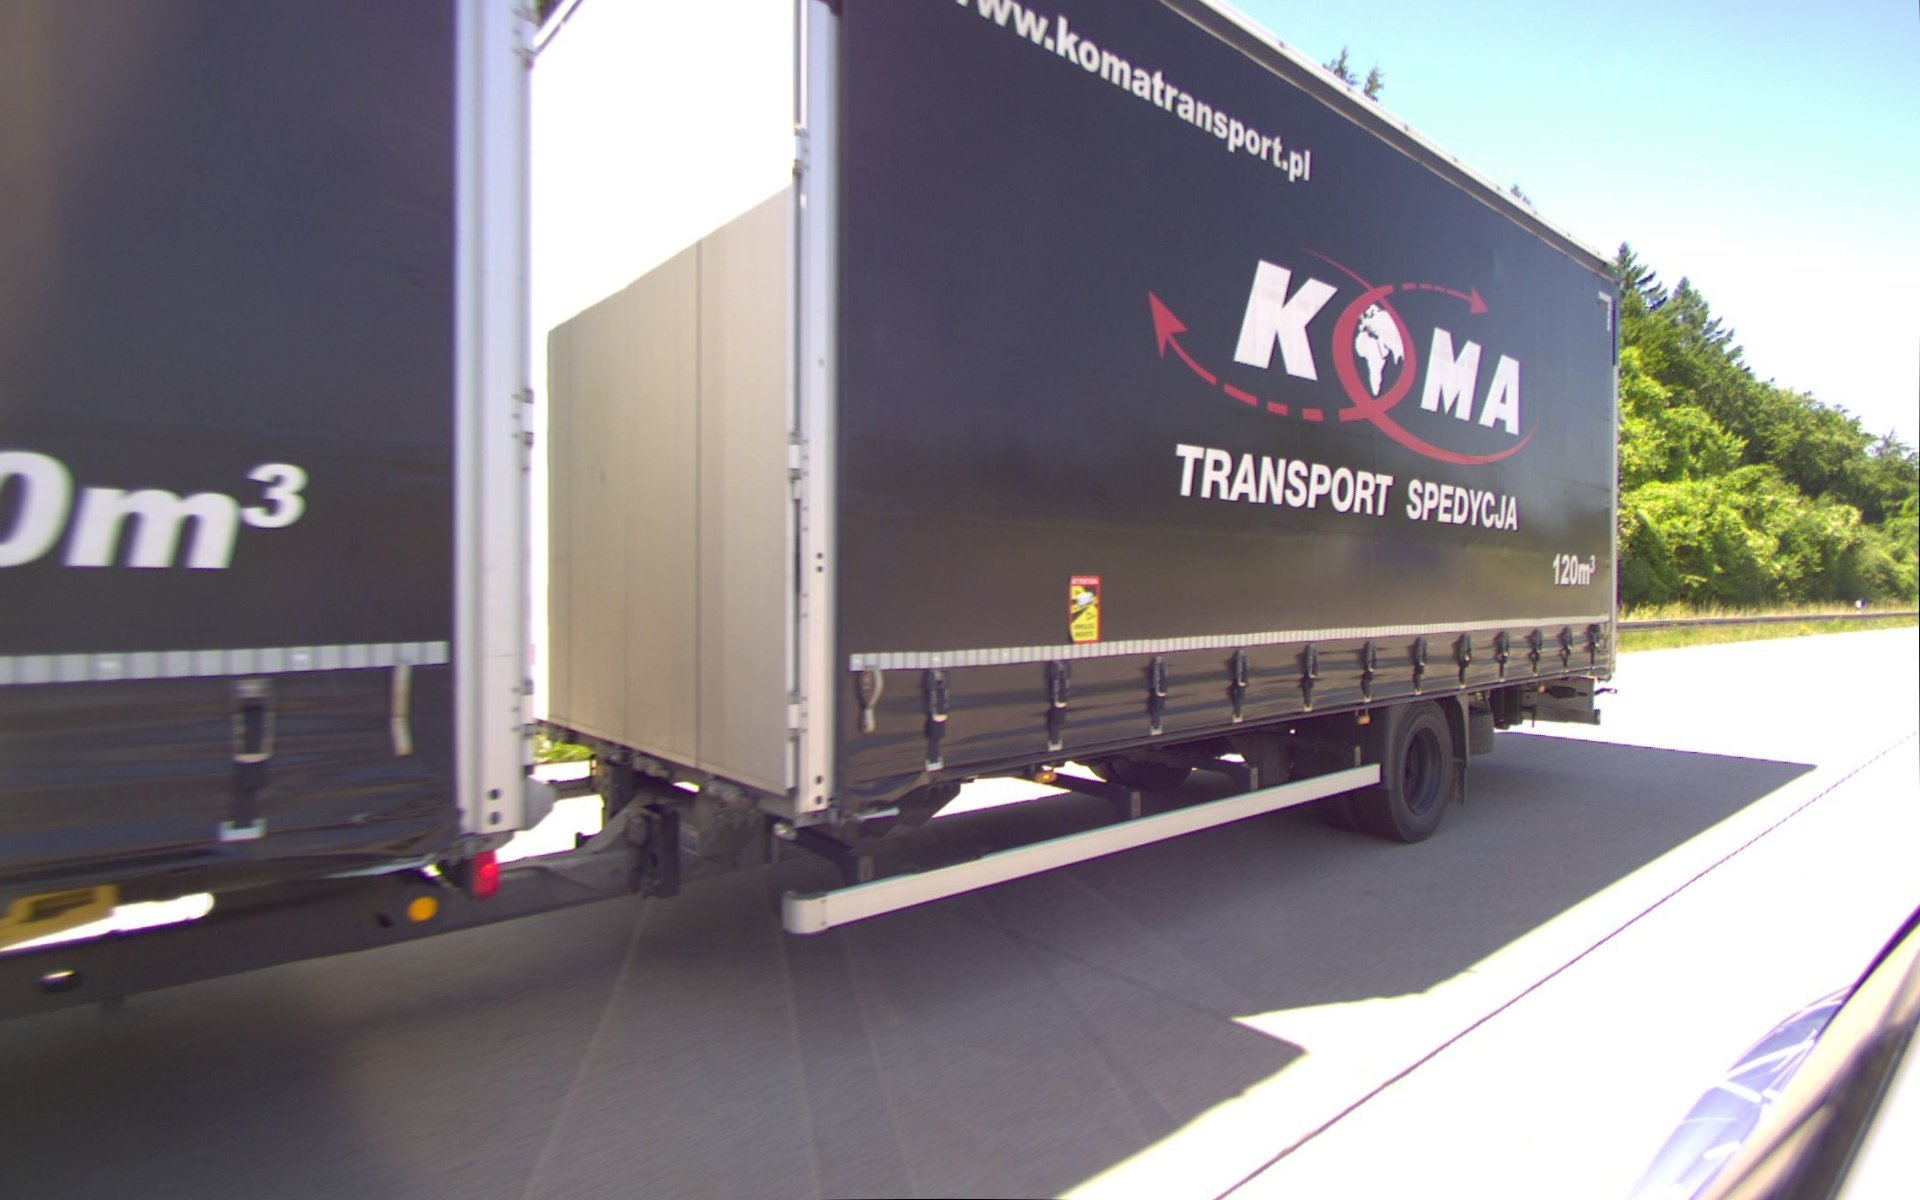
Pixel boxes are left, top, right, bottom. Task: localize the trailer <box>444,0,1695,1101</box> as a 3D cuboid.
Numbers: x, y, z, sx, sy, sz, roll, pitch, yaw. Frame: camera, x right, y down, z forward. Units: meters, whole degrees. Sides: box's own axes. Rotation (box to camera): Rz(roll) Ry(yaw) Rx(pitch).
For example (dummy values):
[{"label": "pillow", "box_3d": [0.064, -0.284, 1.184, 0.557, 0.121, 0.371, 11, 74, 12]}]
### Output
[{"label": "trailer", "box_3d": [1.801, -0.761, 6.791, 8.929, 4.067, 3.140, 0, 0, -41]}]
